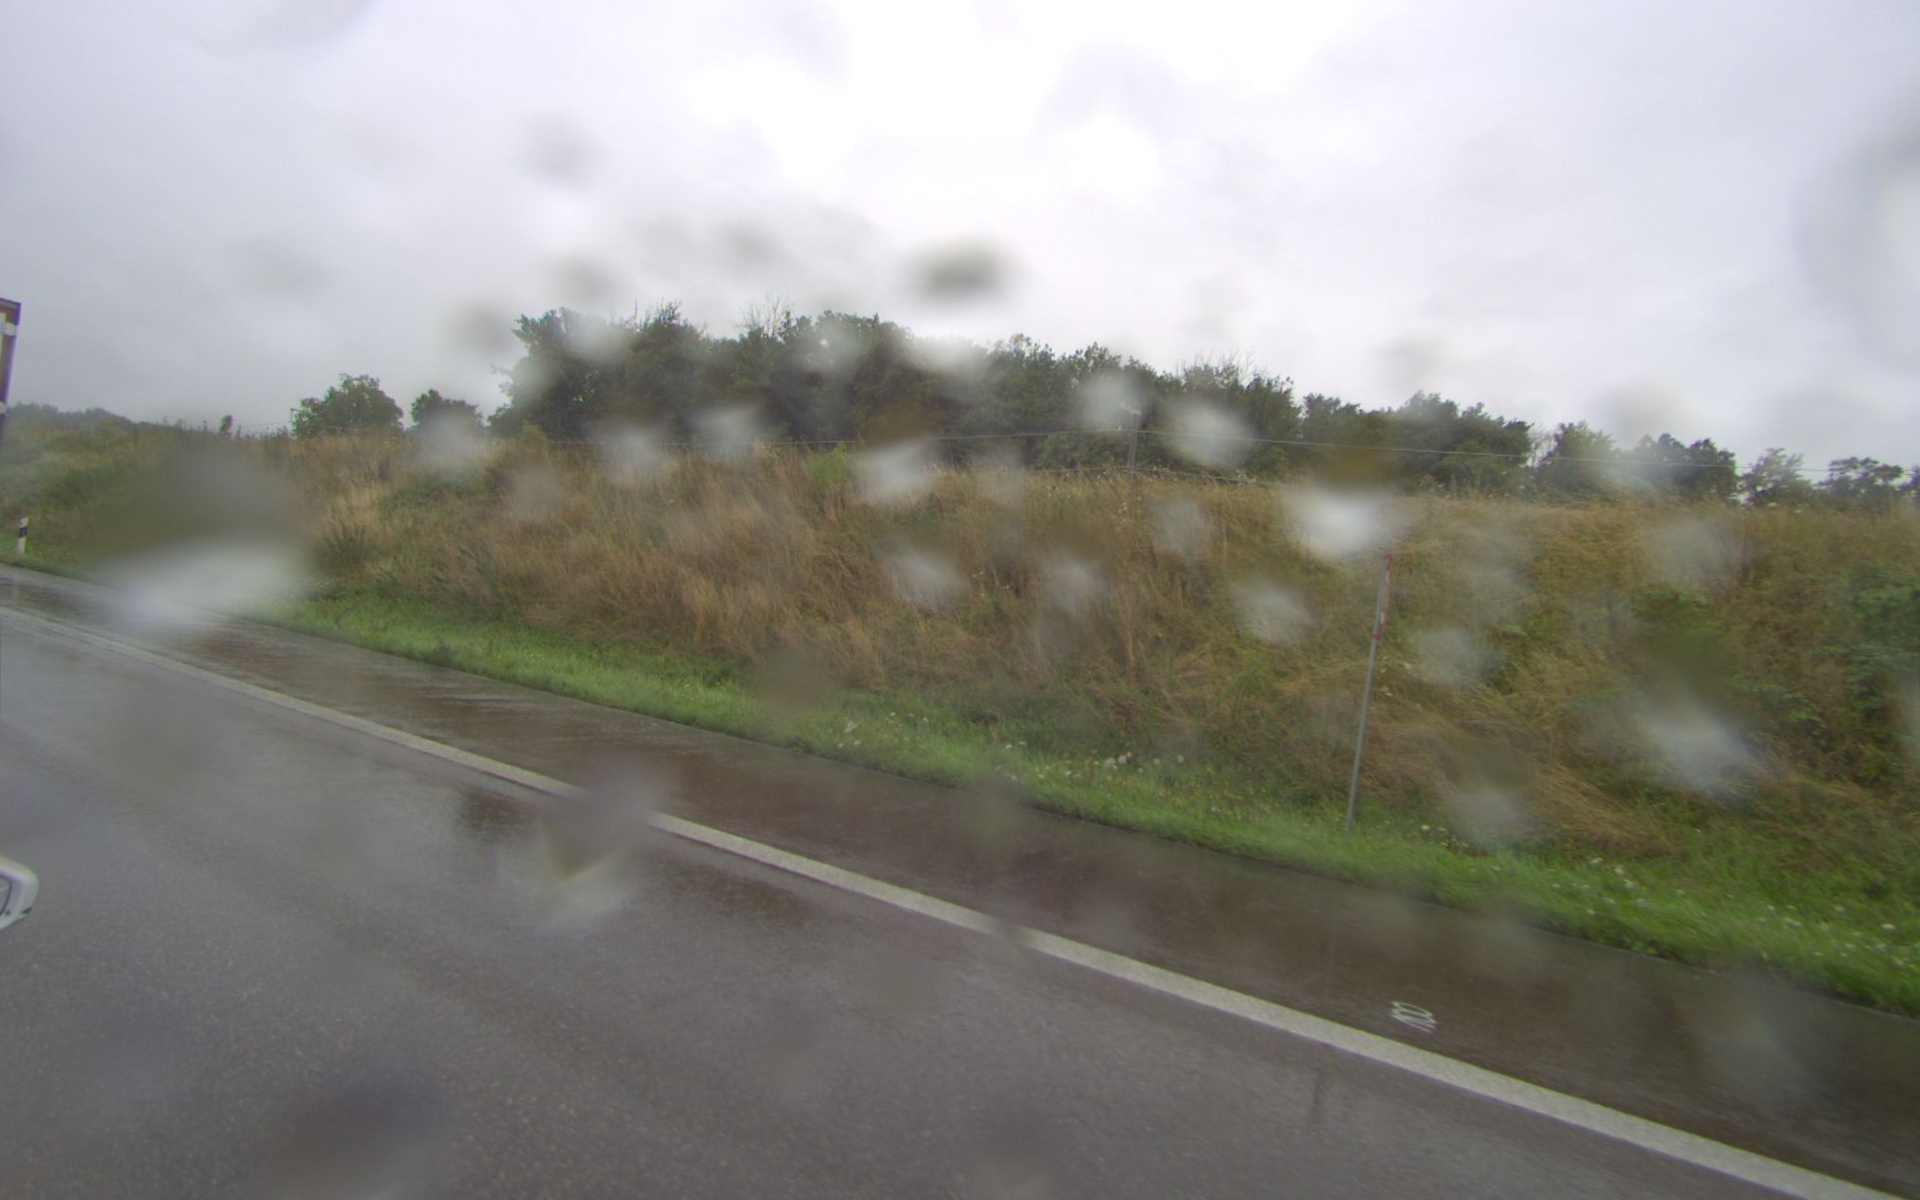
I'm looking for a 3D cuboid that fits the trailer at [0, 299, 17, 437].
[{"bbox_3d":[-19.660,-2.812,16.180,14.386,4.061,2.635,7,-1,32],"label":"trailer"}]
